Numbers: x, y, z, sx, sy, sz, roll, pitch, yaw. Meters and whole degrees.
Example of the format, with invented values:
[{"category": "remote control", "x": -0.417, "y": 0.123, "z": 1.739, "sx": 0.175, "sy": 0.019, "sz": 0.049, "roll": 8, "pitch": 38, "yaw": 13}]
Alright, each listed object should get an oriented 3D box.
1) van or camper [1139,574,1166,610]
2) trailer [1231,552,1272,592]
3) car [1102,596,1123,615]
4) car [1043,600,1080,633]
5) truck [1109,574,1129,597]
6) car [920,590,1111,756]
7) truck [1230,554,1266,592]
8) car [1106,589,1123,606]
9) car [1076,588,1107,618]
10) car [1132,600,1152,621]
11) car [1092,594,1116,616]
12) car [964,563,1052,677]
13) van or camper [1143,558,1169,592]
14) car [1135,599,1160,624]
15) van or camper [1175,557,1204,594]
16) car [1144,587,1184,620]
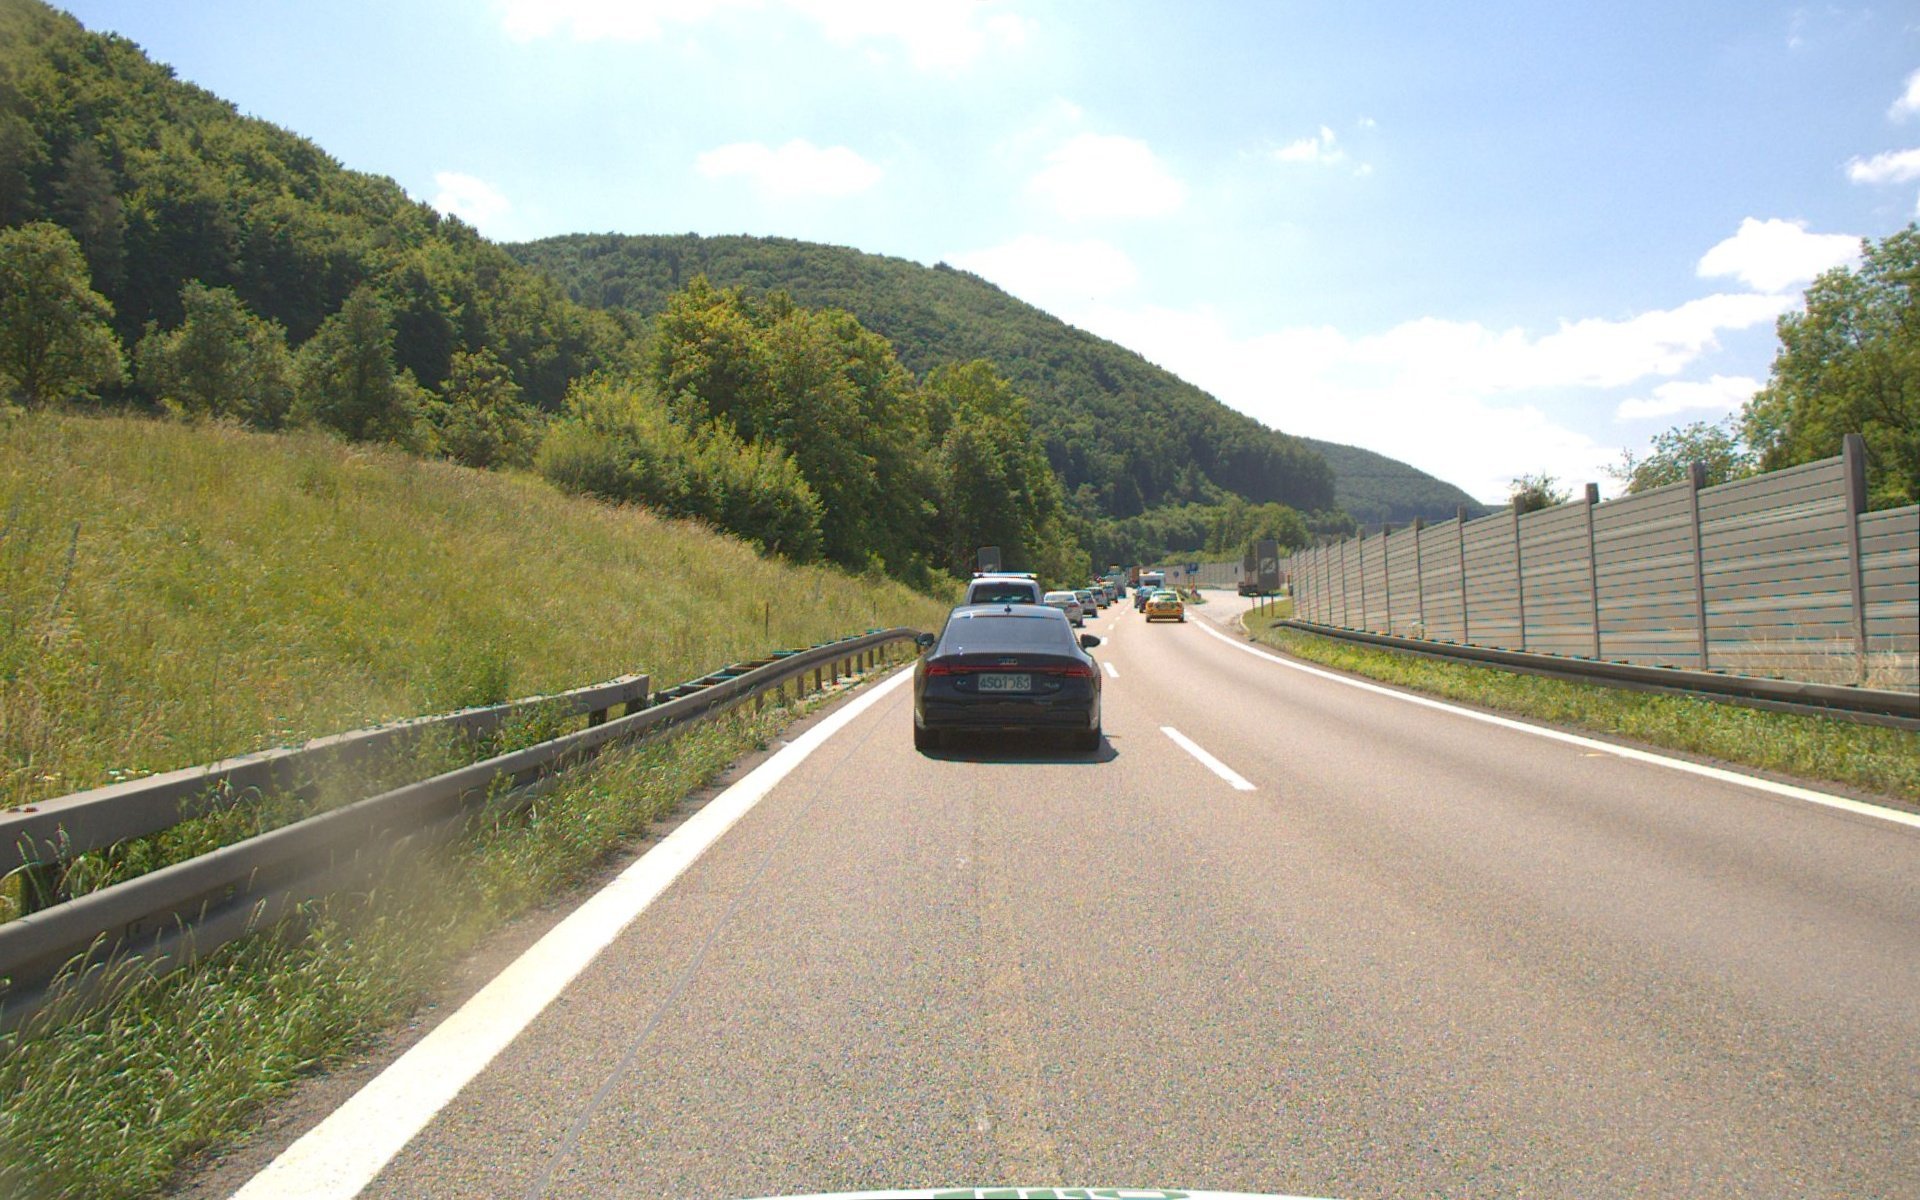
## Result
[{"category": "van or camper", "x": 17.640, "y": -0.667, "z": 151.800, "sx": 2.378, "sy": 3.210, "sz": 5.207, "roll": 1, "pitch": 0, "yaw": 7}, {"category": "trailer", "x": 29.568, "y": -2.802, "z": 168.236, "sx": 3.339, "sy": 3.968, "sz": 11.159, "roll": 0, "pitch": 0, "yaw": 6}, {"category": "car", "x": 12.881, "y": 0.452, "z": 139.899, "sx": 1.489, "sy": 1.580, "sz": 3.517, "roll": 2, "pitch": 0, "yaw": 9}, {"category": "car", "x": 4.315, "y": 0.680, "z": 70.048, "sx": 1.489, "sy": 1.317, "sz": 3.516, "roll": 2, "pitch": 0, "yaw": 4}, {"category": "truck", "x": 19.472, "y": -1.745, "z": 202.309, "sx": 2.020, "sy": 2.651, "sz": 5.618, "roll": 2, "pitch": 0, "yaw": 8}, {"category": "car", "x": 0.489, "y": 0.668, "z": 17.073, "sx": 1.775, "sy": 1.541, "sz": 3.514, "roll": 0, "pitch": 0, "yaw": -1}, {"category": "truck", "x": 30.155, "y": -2.803, "z": 173.565, "sx": 3.339, "sy": 3.968, "sz": 5.391, "roll": 0, "pitch": 0, "yaw": 6}, {"category": "car", "x": 14.933, "y": -0.205, "z": 159.750, "sx": 1.489, "sy": 1.580, "sz": 3.517, "roll": 2, "pitch": 0, "yaw": 8}, {"category": "car", "x": 7.331, "y": 0.152, "z": 92.062, "sx": 1.489, "sy": 1.580, "sz": 3.517, "roll": 2, "pitch": 0, "yaw": 7}, {"category": "car", "x": 13.673, "y": 0.790, "z": 124.248, "sx": 1.497, "sy": 1.552, "sz": 3.599, "roll": 1, "pitch": 0, "yaw": 7}, {"category": "car", "x": 10.717, "y": 0.345, "z": 122.996, "sx": 1.489, "sy": 1.580, "sz": 3.517, "roll": 2, "pitch": 0, "yaw": 8}, {"category": "car", "x": 0.960, "y": 0.358, "z": 31.621, "sx": 1.489, "sy": 2.002, "sz": 3.516, "roll": 2, "pitch": 0, "yaw": 4}, {"category": "van or camper", "x": 23.396, "y": -2.958, "z": 197.430, "sx": 2.736, "sy": 3.975, "sz": 6.170, "roll": 1, "pitch": 0, "yaw": 5}, {"category": "car", "x": 11.683, "y": 0.715, "z": 102.951, "sx": 1.497, "sy": 1.552, "sz": 3.599, "roll": 1, "pitch": 0, "yaw": 7}, {"category": "van or camper", "x": 24.702, "y": -2.608, "z": 178.334, "sx": 2.736, "sy": 3.908, "sz": 6.170, "roll": 1, "pitch": 0, "yaw": 5}, {"category": "car", "x": 9.667, "y": 0.169, "z": 78.584, "sx": 1.839, "sy": 1.525, "sz": 4.003, "roll": 0, "pitch": 0, "yaw": 7}]
